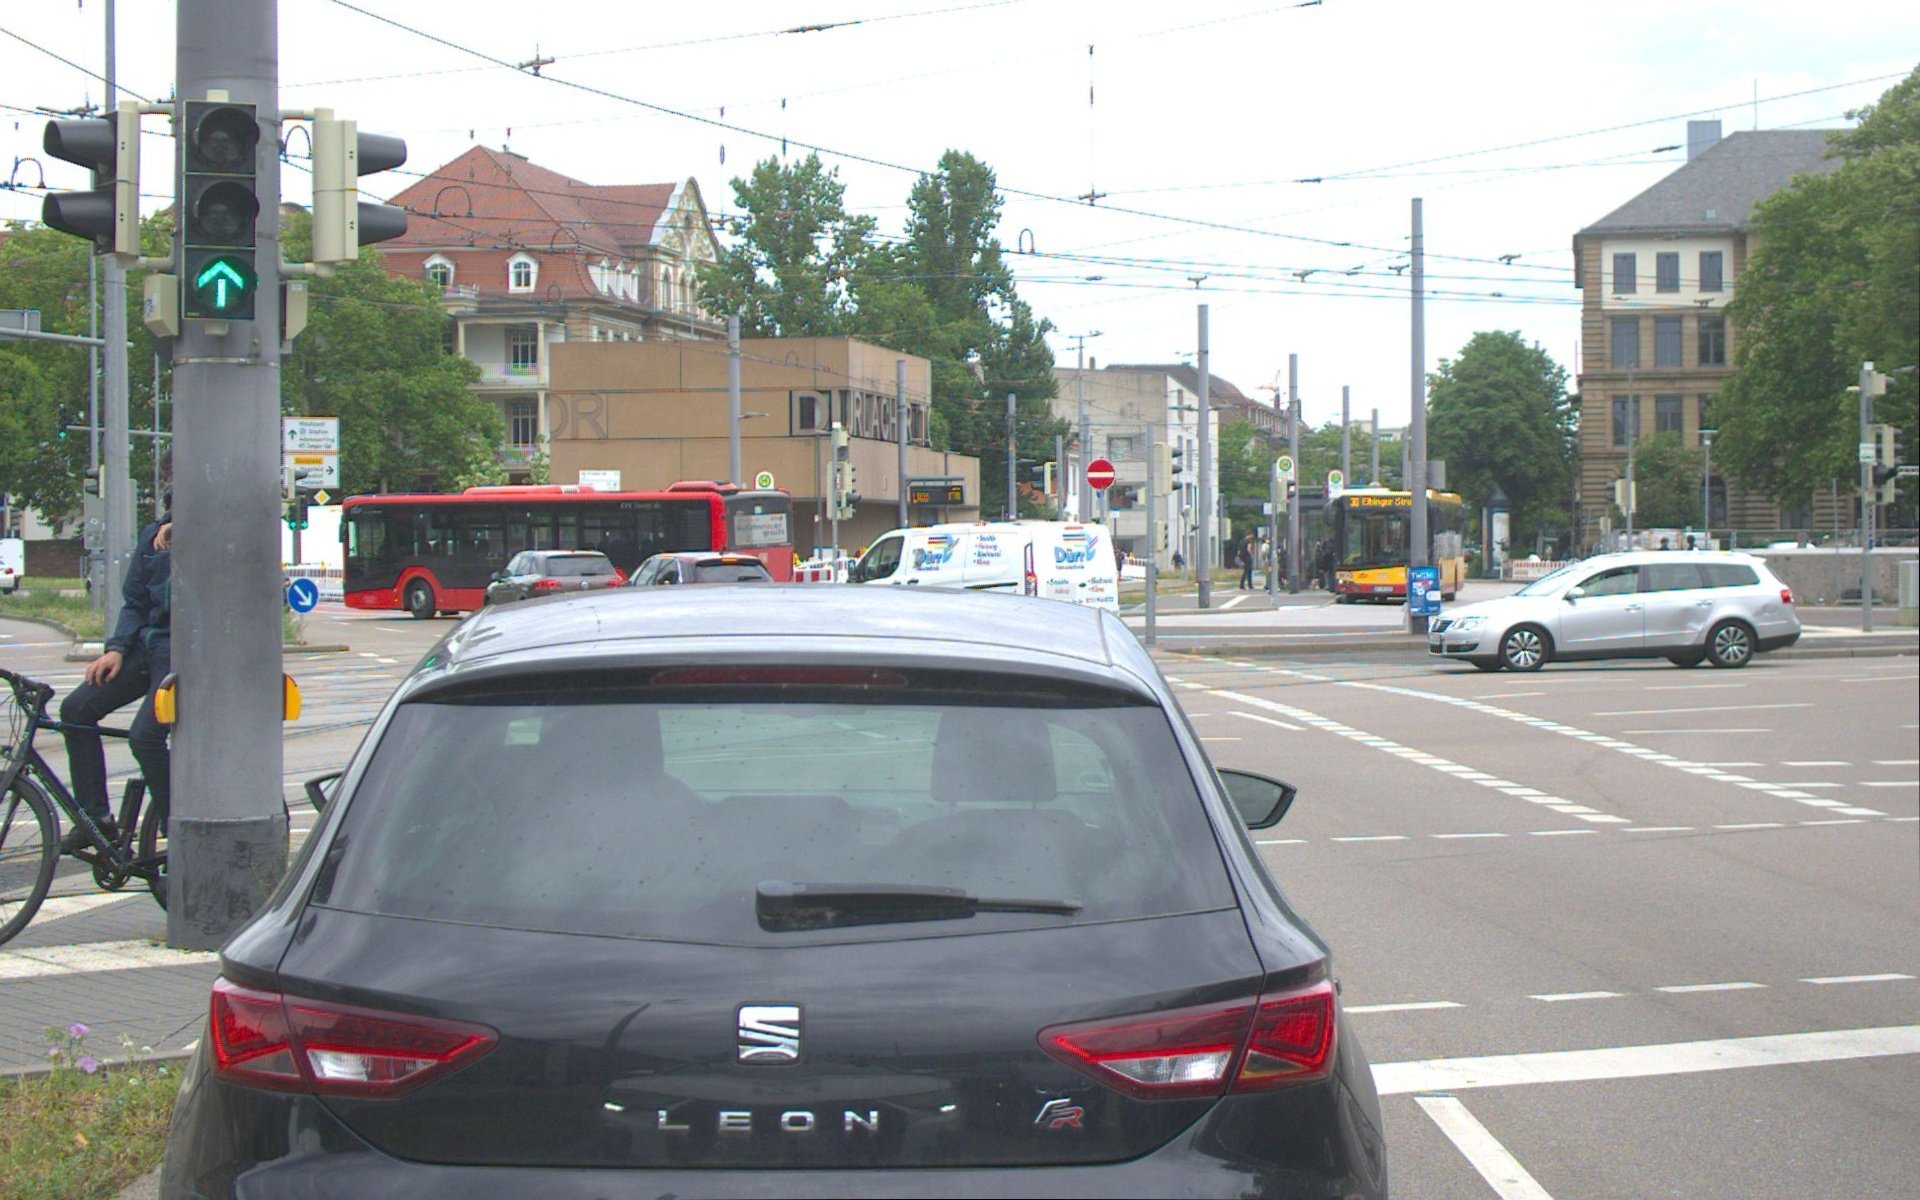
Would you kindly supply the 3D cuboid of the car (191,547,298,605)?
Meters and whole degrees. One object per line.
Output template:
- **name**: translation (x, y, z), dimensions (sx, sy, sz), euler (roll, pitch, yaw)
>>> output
- **car**: translation (-19.633, -0.672, 94.226), dimensions (1.993, 1.534, 4.001), euler (-1, 1, -25)

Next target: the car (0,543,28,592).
- **car**: translation (-35.089, -1.182, 123.655), dimensions (1.993, 1.744, 4.000), euler (-1, 1, -31)

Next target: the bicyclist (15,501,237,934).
- **bicyclist**: translation (-3.244, 0.437, 13.377), dimensions (0.653, 1.633, 0.517), euler (-1, 1, -40)

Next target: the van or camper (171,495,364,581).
- **van or camper**: translation (-27.812, -2.525, 138.300), dimensions (7.134, 3.321, 2.875), euler (-2, 0, -45)

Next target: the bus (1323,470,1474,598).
- **bus**: translation (12.158, -1.794, 94.252), dimensions (3.018, 3.256, 13.036), euler (0, 1, 12)

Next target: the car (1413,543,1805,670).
- **car**: translation (8.324, 0.065, 44.239), dimensions (4.612, 1.477, 1.726), euler (-2, 1, -8)

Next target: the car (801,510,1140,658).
- **car**: translation (0.088, -0.256, 49.302), dimensions (1.994, 2.012, 5.029), euler (-1, 1, -42)

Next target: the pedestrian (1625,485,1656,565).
- **pedestrian**: translation (36.180, -3.972, 182.827), dimensions (1.387, 4.239, 1.347), euler (0, 1, 0)

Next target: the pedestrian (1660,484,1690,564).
- **pedestrian**: translation (37.934, -4.026, 182.483), dimensions (1.307, 4.239, 1.347), euler (0, 1, 0)

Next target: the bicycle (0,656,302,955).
- **bicycle**: translation (-3.393, 0.778, 13.258), dimensions (1.609, 1.066, 0.528), euler (-1, 1, -40)

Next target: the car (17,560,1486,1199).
- **car**: translation (-0.273, 0.675, 6.103), dimensions (1.746, 1.459, 4.000), euler (0, 1, -1)

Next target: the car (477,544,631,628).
- **car**: translation (-7.943, -0.291, 66.978), dimensions (1.993, 1.560, 4.206), euler (-1, 1, -21)

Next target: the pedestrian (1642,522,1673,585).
- **pedestrian**: translation (20.631, -1.365, 101.681), dimensions (0.824, 1.847, 1.020), euler (0, 1, 16)

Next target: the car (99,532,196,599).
- **car**: translation (-25.282, -1.084, 106.898), dimensions (1.993, 2.007, 4.001), euler (-1, 1, -28)

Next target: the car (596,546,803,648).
- **car**: translation (-4.325, -0.087, 56.529), dimensions (1.857, 1.595, 4.205), euler (-1, 1, -28)

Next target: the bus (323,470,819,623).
- **bus**: translation (-9.071, -1.193, 78.778), dimensions (12.363, 3.286, 3.062), euler (0, 1, 35)
